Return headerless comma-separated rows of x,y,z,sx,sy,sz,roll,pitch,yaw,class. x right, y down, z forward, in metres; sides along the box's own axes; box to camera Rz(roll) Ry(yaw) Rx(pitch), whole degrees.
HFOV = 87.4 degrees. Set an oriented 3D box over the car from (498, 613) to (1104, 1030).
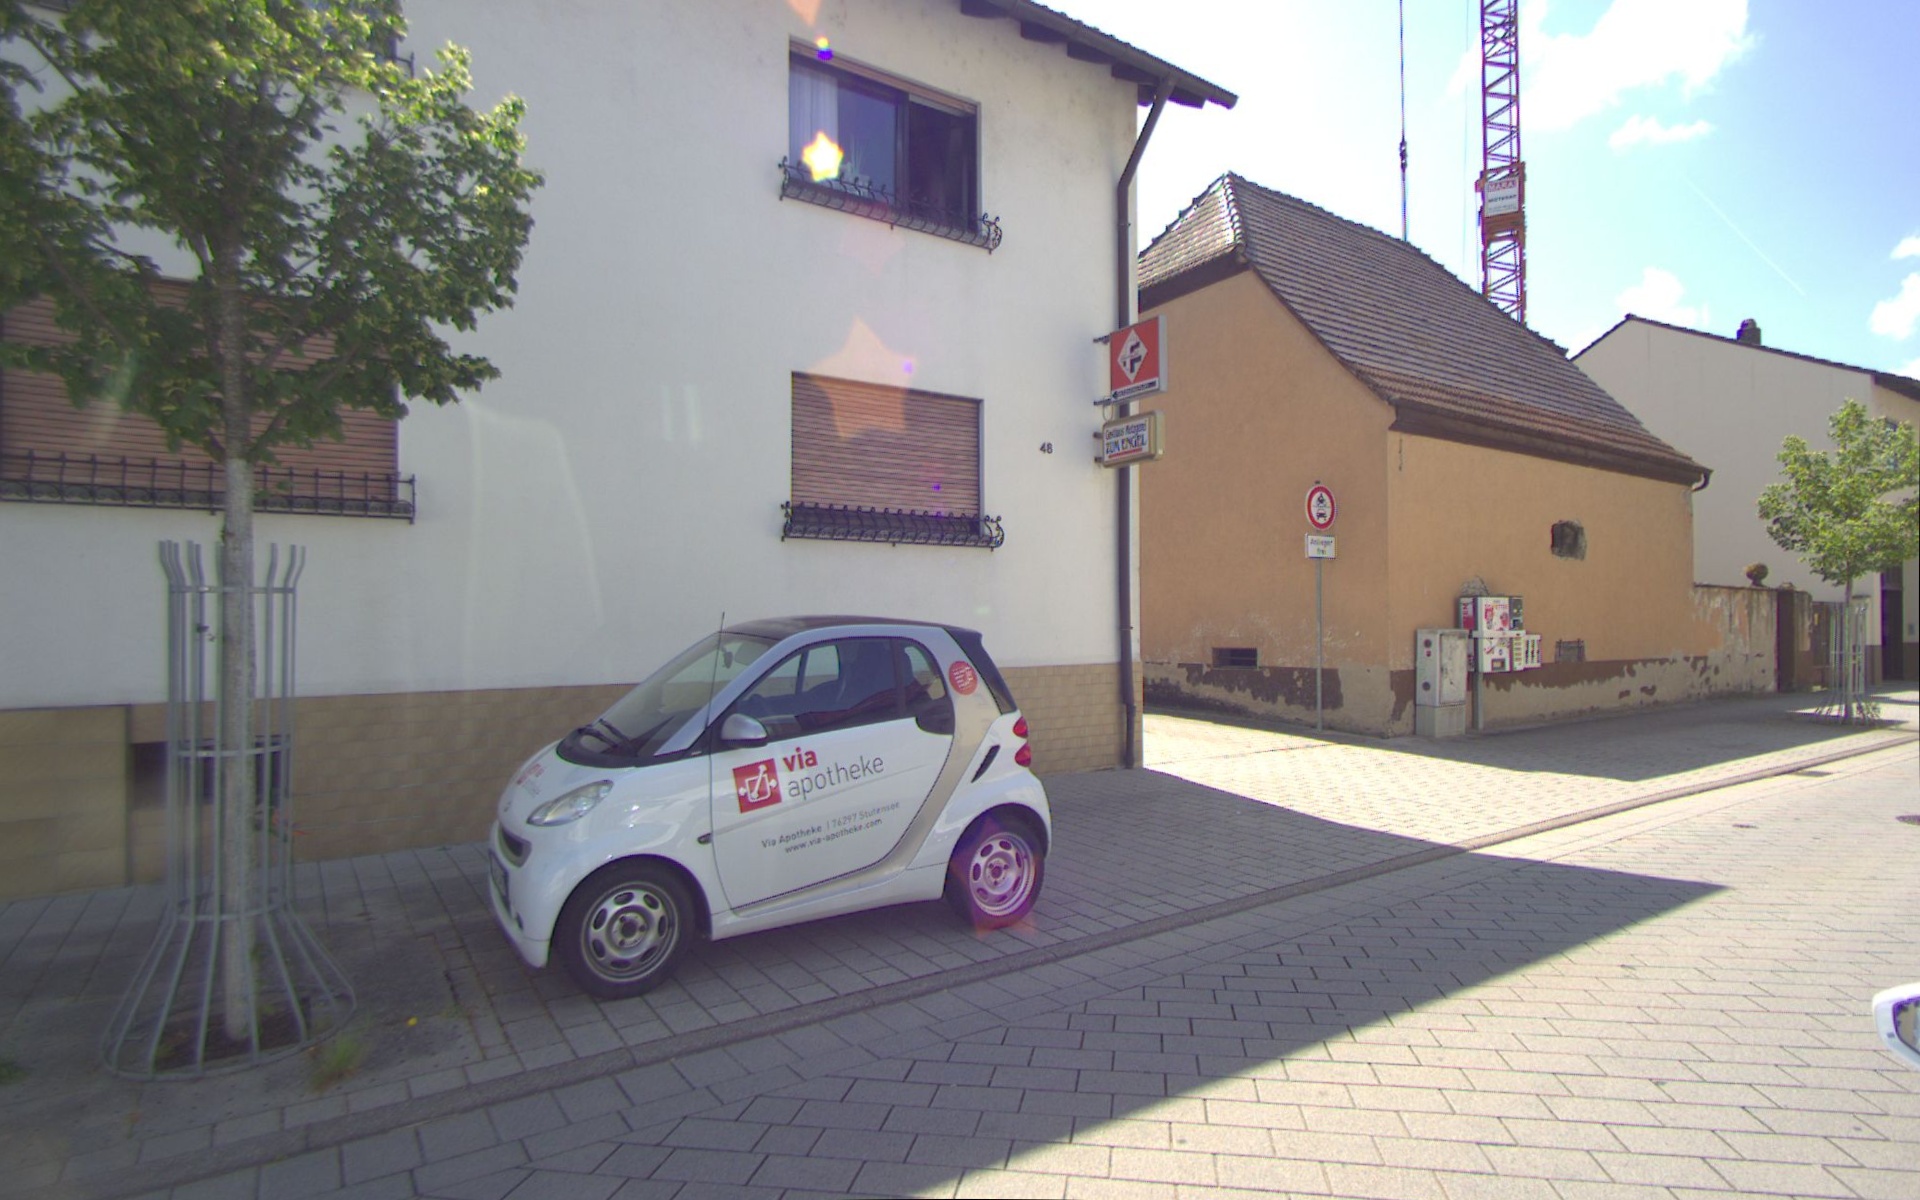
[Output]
-0.828,0.881,5.297,2.789,1.582,1.564,0,1,-31,car
